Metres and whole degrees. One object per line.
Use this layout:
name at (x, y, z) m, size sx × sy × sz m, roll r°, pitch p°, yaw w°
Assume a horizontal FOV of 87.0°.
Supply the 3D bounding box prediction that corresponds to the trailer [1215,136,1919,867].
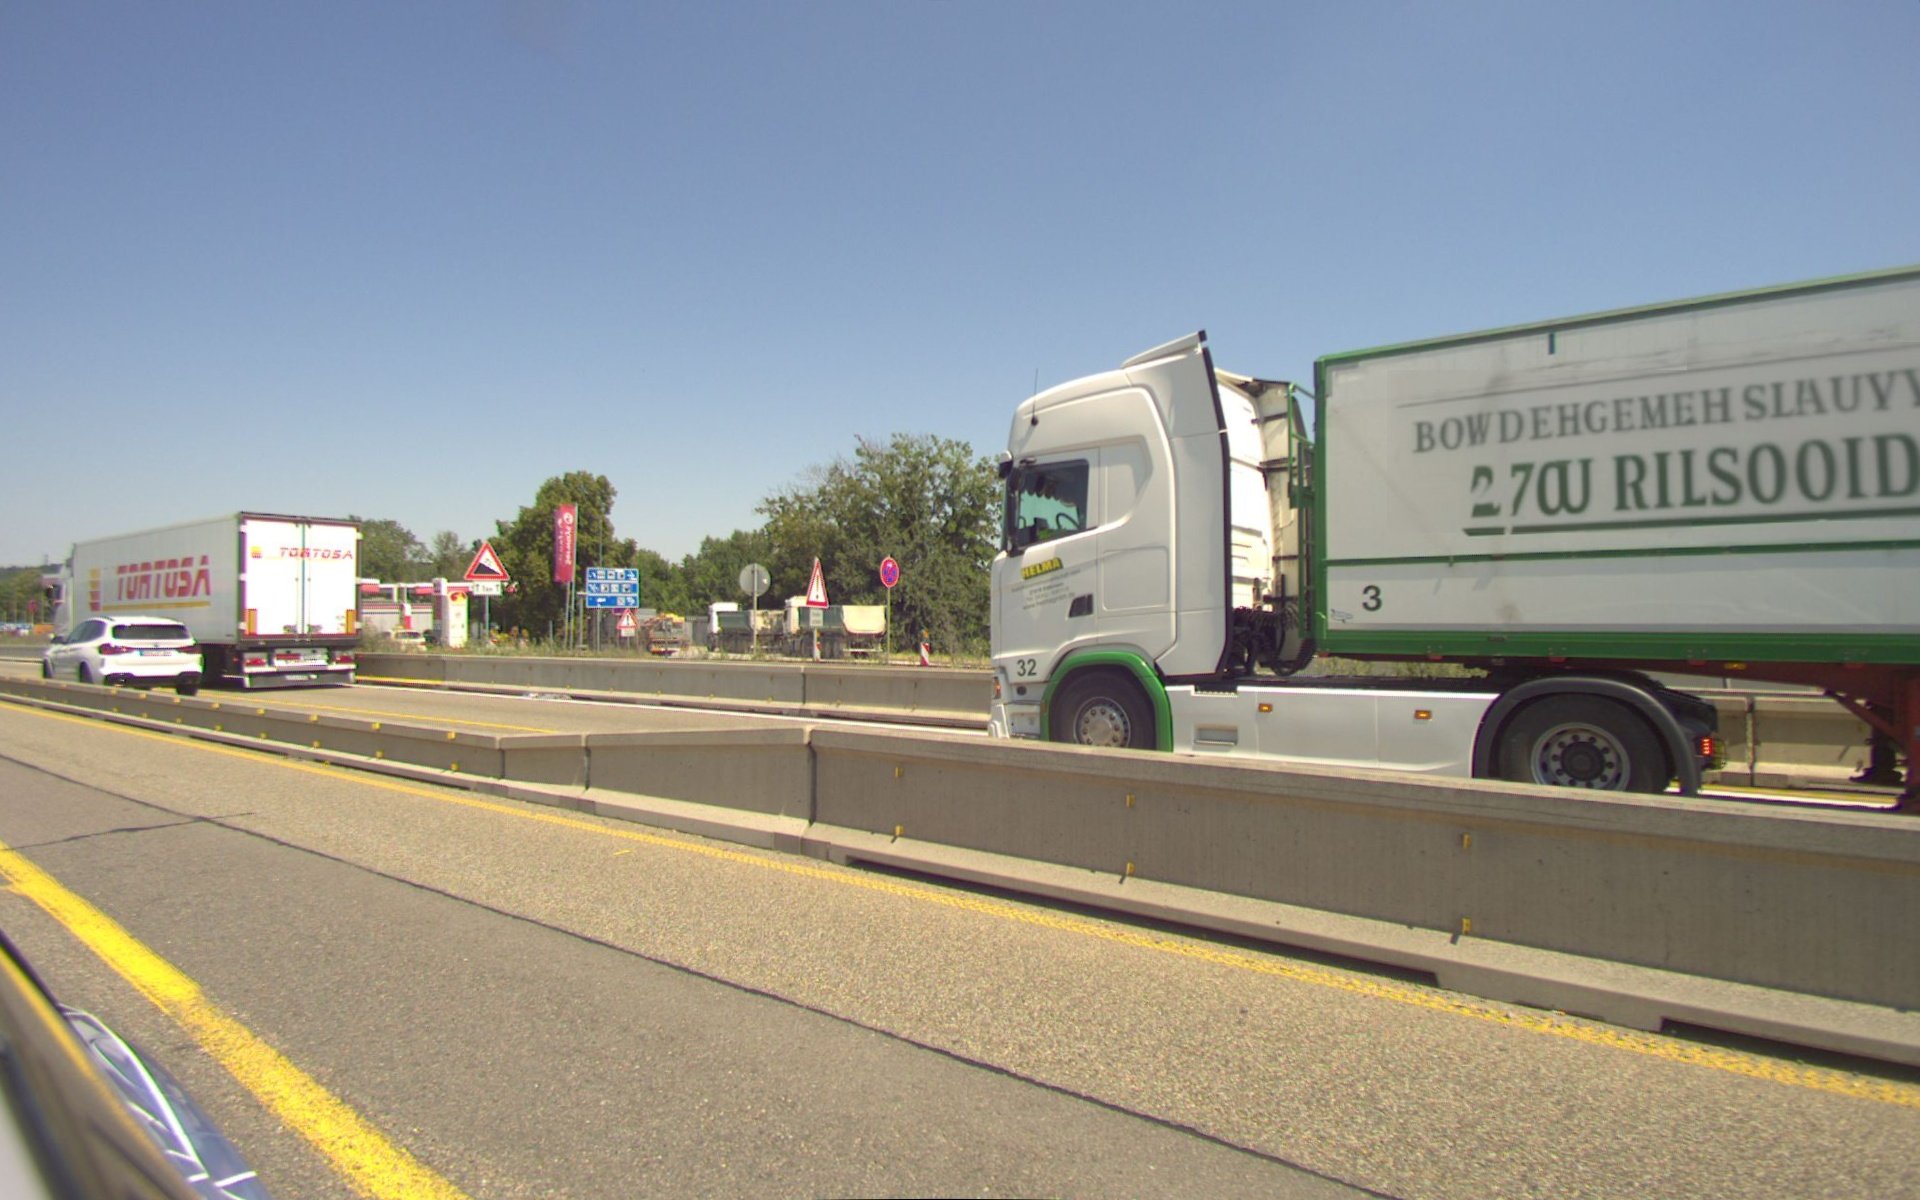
trailer at (7.770, -0.597, 5.499) m, size 12.479 × 4.183 × 2.331 m, roll -1°, pitch -1°, yaw 38°

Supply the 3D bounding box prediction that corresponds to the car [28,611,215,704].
car at (-17.767, 1.160, 21.393) m, size 4.484 × 1.752 × 1.975 m, roll -1°, pitch -3°, yaw 36°

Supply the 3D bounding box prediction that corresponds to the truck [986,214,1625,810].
truck at (3.029, -0.566, 9.332) m, size 5.066 × 4.038 × 2.427 m, roll -1°, pitch -1°, yaw 35°

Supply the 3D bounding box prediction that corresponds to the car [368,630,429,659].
car at (-28.373, 2.224, 51.105) m, size 3.402 × 1.386 × 1.438 m, roll -1°, pitch -1°, yaw 37°

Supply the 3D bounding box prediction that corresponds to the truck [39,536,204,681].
truck at (-26.507, 0.277, 31.950) m, size 5.448 × 4.163 × 2.805 m, roll -1°, pitch -1°, yaw 37°

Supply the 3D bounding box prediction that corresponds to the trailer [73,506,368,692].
trailer at (-20.510, 0.151, 27.498) m, size 13.099 × 4.125 × 2.789 m, roll -2°, pitch -1°, yaw 37°
